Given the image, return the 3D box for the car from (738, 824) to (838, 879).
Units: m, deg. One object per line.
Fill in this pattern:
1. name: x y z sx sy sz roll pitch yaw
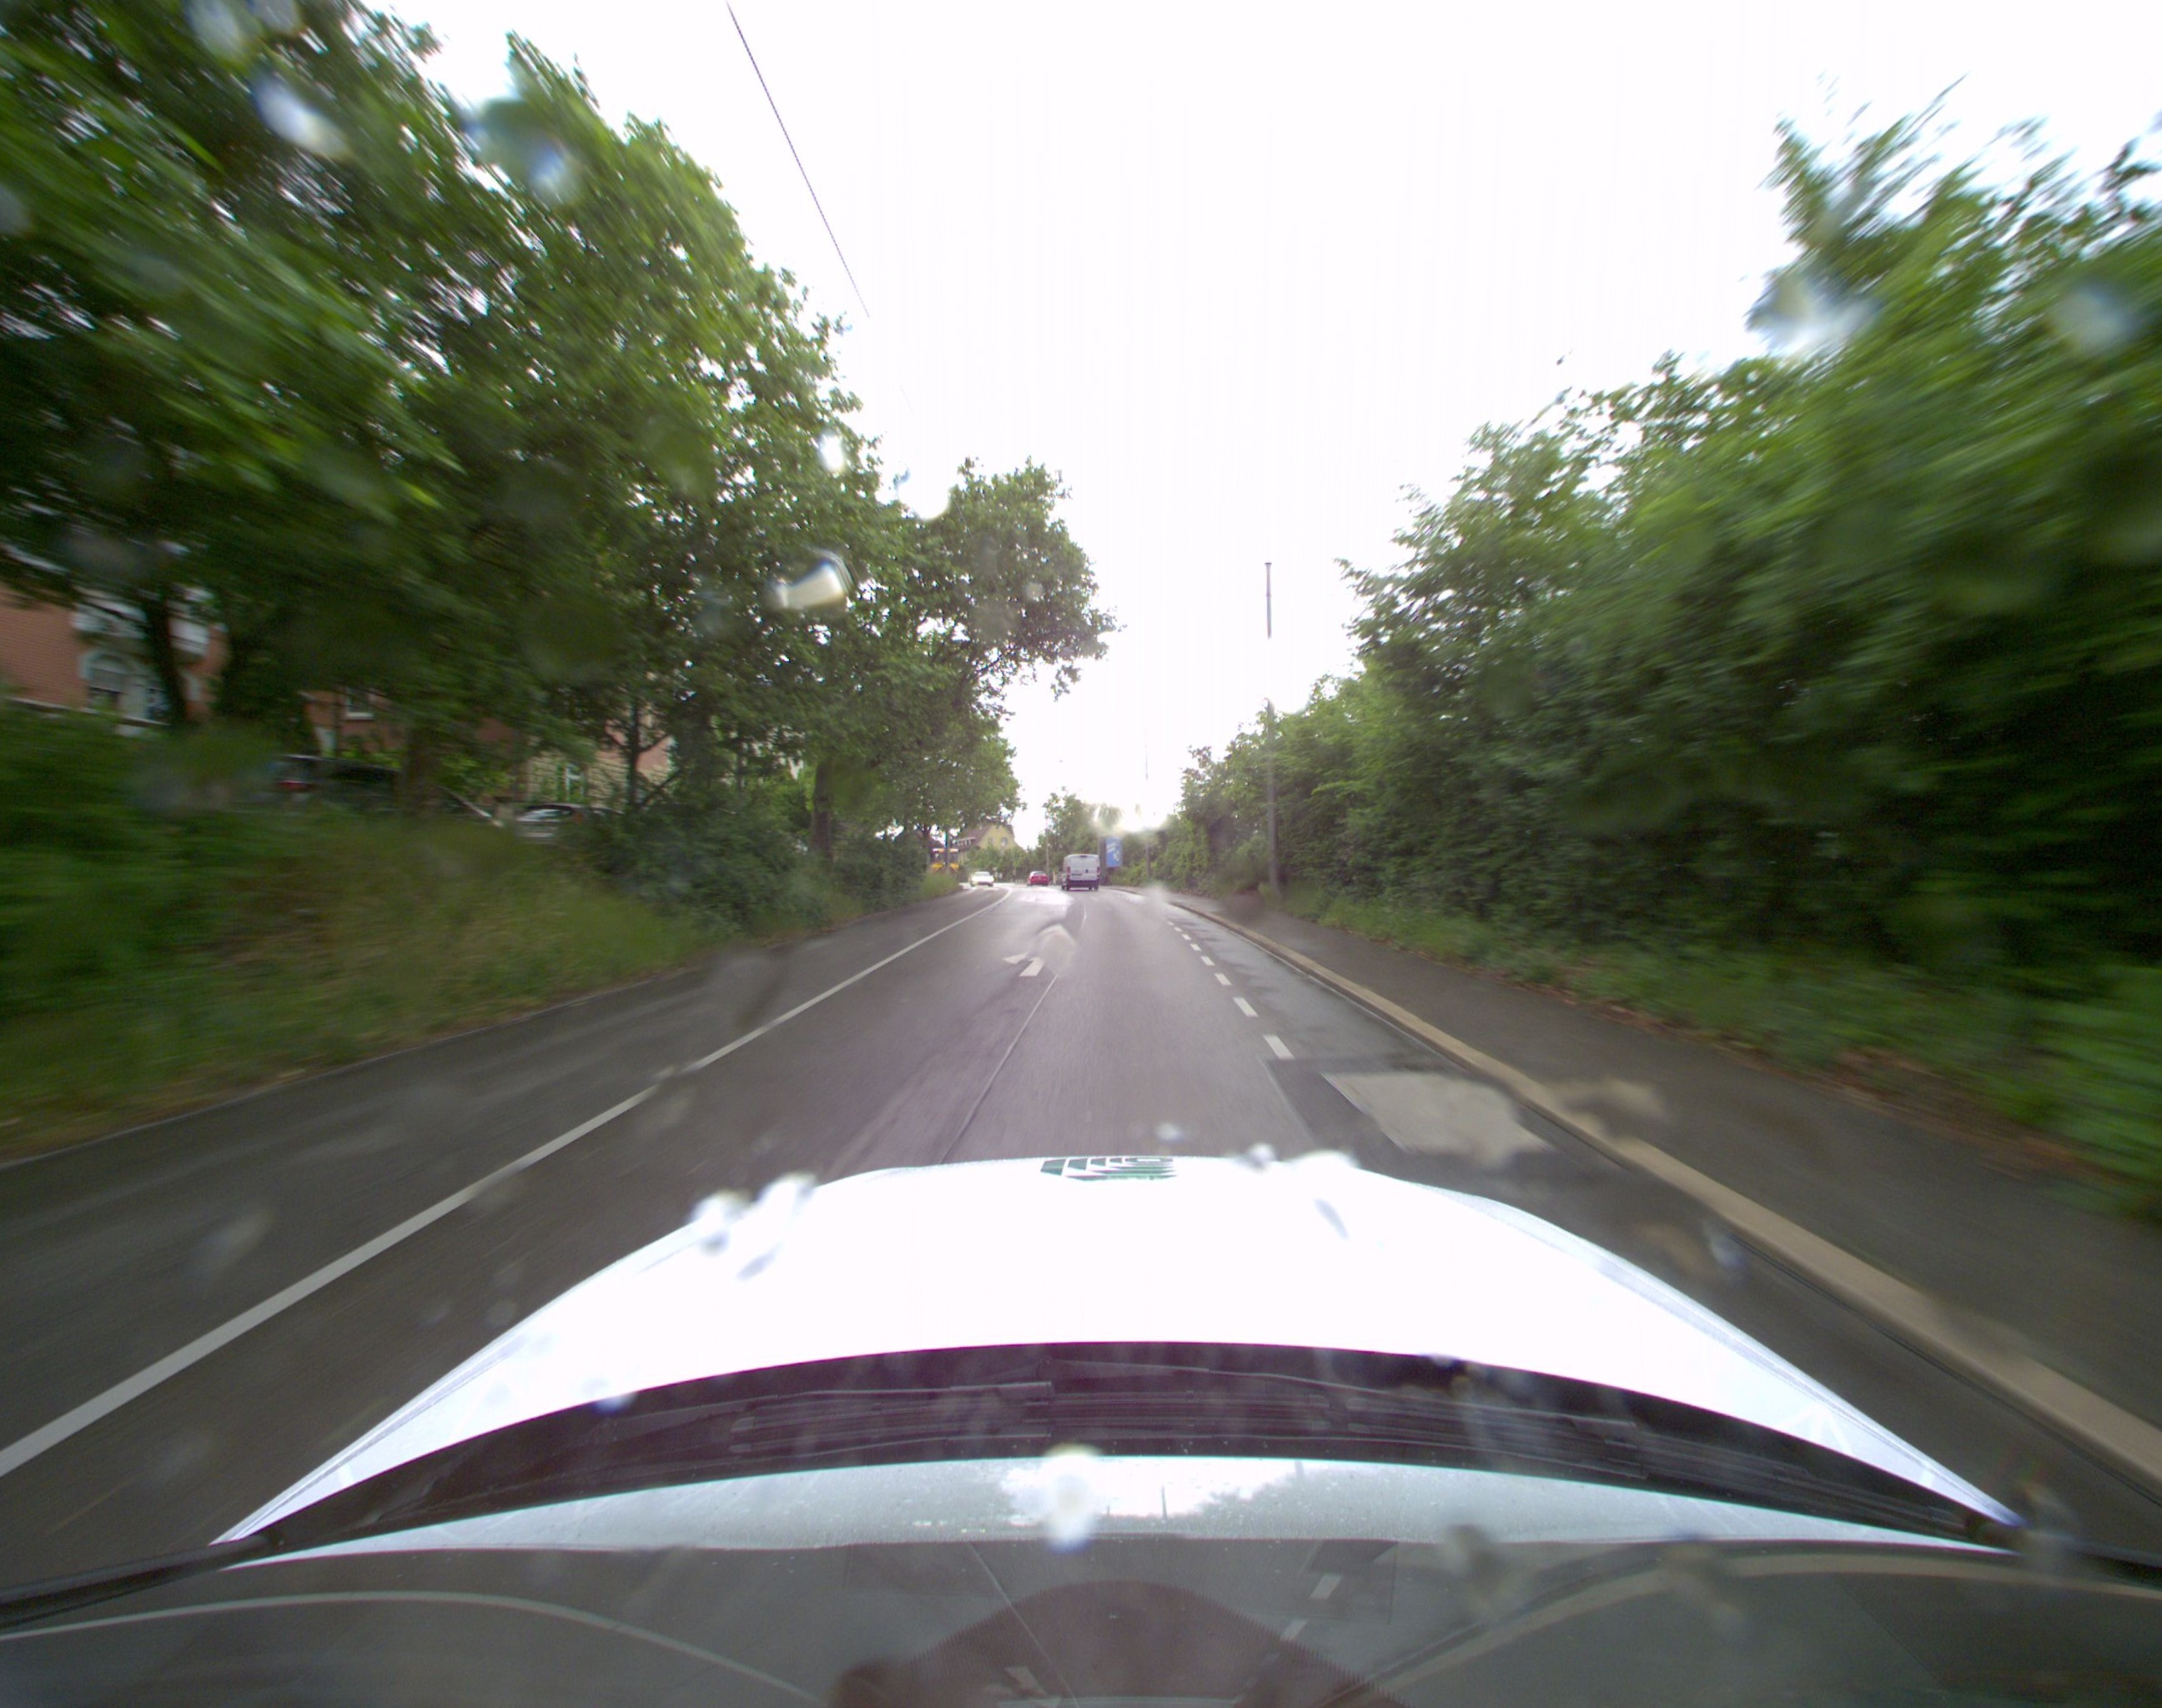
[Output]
1. car: -10.795 -0.079 30.355 1.823 1.843 4.630 1 0 3

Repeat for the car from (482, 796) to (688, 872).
1. car: -11.420 -0.405 19.227 1.823 1.557 4.630 1 0 3

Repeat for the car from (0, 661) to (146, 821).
1. car: -11.805 -1.177 7.268 1.823 1.557 4.288 1 0 2

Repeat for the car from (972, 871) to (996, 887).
1. car: -9.216 2.312 77.092 2.070 1.353 4.699 1 0 -9

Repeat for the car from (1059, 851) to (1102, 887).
1. car: -0.098 0.935 52.194 2.235 2.213 4.703 1 0 -6

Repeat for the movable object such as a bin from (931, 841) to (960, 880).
1. movable object such as a bin: -13.834 0.671 83.440 2.774 3.856 5.968 1 0 -9

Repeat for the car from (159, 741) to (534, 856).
1. car: -11.627 -0.756 13.471 1.823 1.557 4.630 1 0 3

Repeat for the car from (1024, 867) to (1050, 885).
1. car: -4.348 2.123 80.170 2.235 1.657 4.703 1 0 -6
